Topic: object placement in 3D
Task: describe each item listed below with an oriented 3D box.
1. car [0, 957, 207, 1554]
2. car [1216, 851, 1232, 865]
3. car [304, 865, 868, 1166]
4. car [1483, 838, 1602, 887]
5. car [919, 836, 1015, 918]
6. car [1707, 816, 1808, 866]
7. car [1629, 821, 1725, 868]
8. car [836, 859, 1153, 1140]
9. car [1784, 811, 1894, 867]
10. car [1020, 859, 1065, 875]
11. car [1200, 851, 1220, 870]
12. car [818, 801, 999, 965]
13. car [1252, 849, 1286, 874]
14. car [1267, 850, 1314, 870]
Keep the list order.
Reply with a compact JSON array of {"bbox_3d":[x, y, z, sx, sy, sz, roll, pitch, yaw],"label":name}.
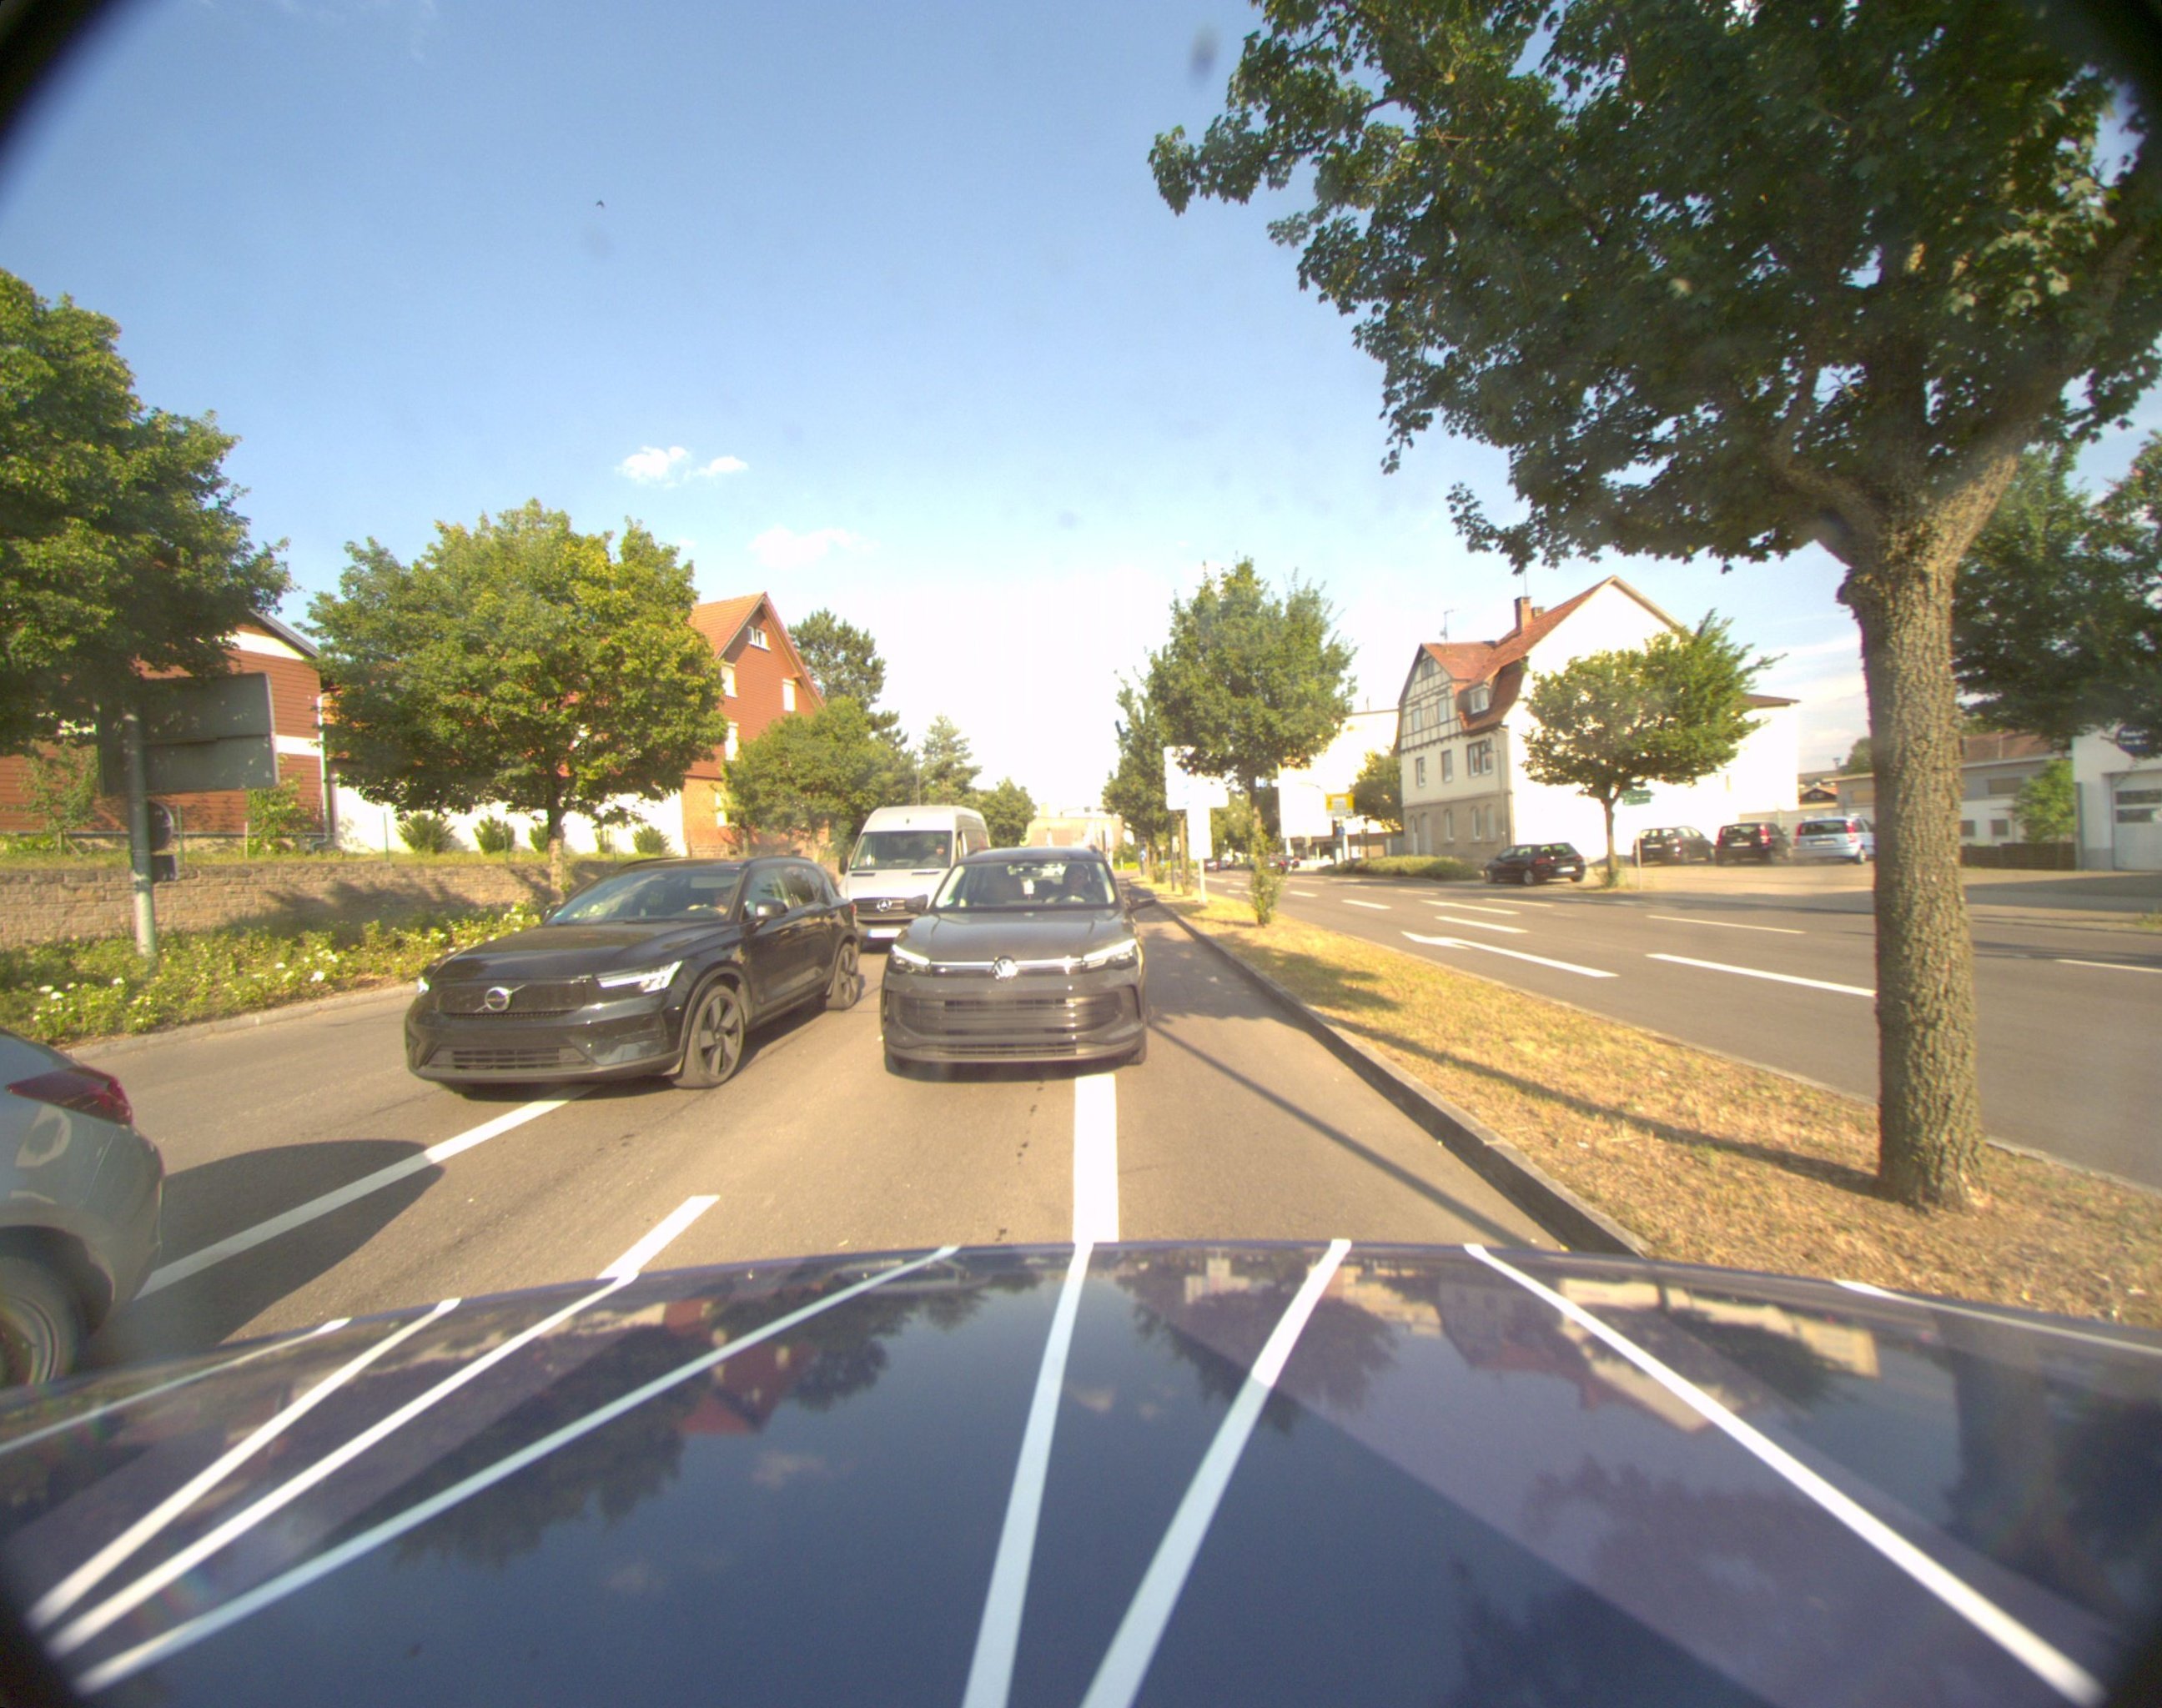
[{"bbox_3d":[-3.613,1.062,0.195,1.766,1.445,4.318,-1,0,0],"label":"car"},{"bbox_3d":[18.308,0.533,97.382,1.780,1.683,4.004,-2,0,14],"label":"car"},{"bbox_3d":[-3.399,0.949,6.443,1.845,1.600,4.318,-1,0,2],"label":"car"},{"bbox_3d":[16.033,0.282,26.632,1.818,1.442,3.825,-5,0,1],"label":"car"},{"bbox_3d":[-3.016,0.563,20.966,1.845,2.018,4.318,-1,0,2],"label":"car"},{"bbox_3d":[24.657,-0.489,27.670,3.830,1.493,1.816,-5,0,-35],"label":"car"},{"bbox_3d":[23.378,-0.390,29.767,3.830,1.493,1.816,-5,0,-35],"label":"car"},{"bbox_3d":[-0.452,0.875,6.631,1.845,1.600,4.318,-1,0,2],"label":"car"},{"bbox_3d":[24.879,-0.503,24.904,3.830,1.493,1.816,-5,0,-35],"label":"car"},{"bbox_3d":[-4.112,1.381,80.486,4.363,1.460,1.786,-2,0,28],"label":"car"},{"bbox_3d":[12.720,0.626,75.153,1.780,1.683,4.002,-2,0,9],"label":"car"},{"bbox_3d":[-3.037,0.449,14.971,1.992,2.554,6.046,-1,0,2],"label":"car"},{"bbox_3d":[13.947,0.531,56.515,1.781,1.683,4.001,-2,0,4],"label":"car"},{"bbox_3d":[19.049,0.554,69.311,3.993,1.664,1.789,-2,1,12],"label":"car"}]
